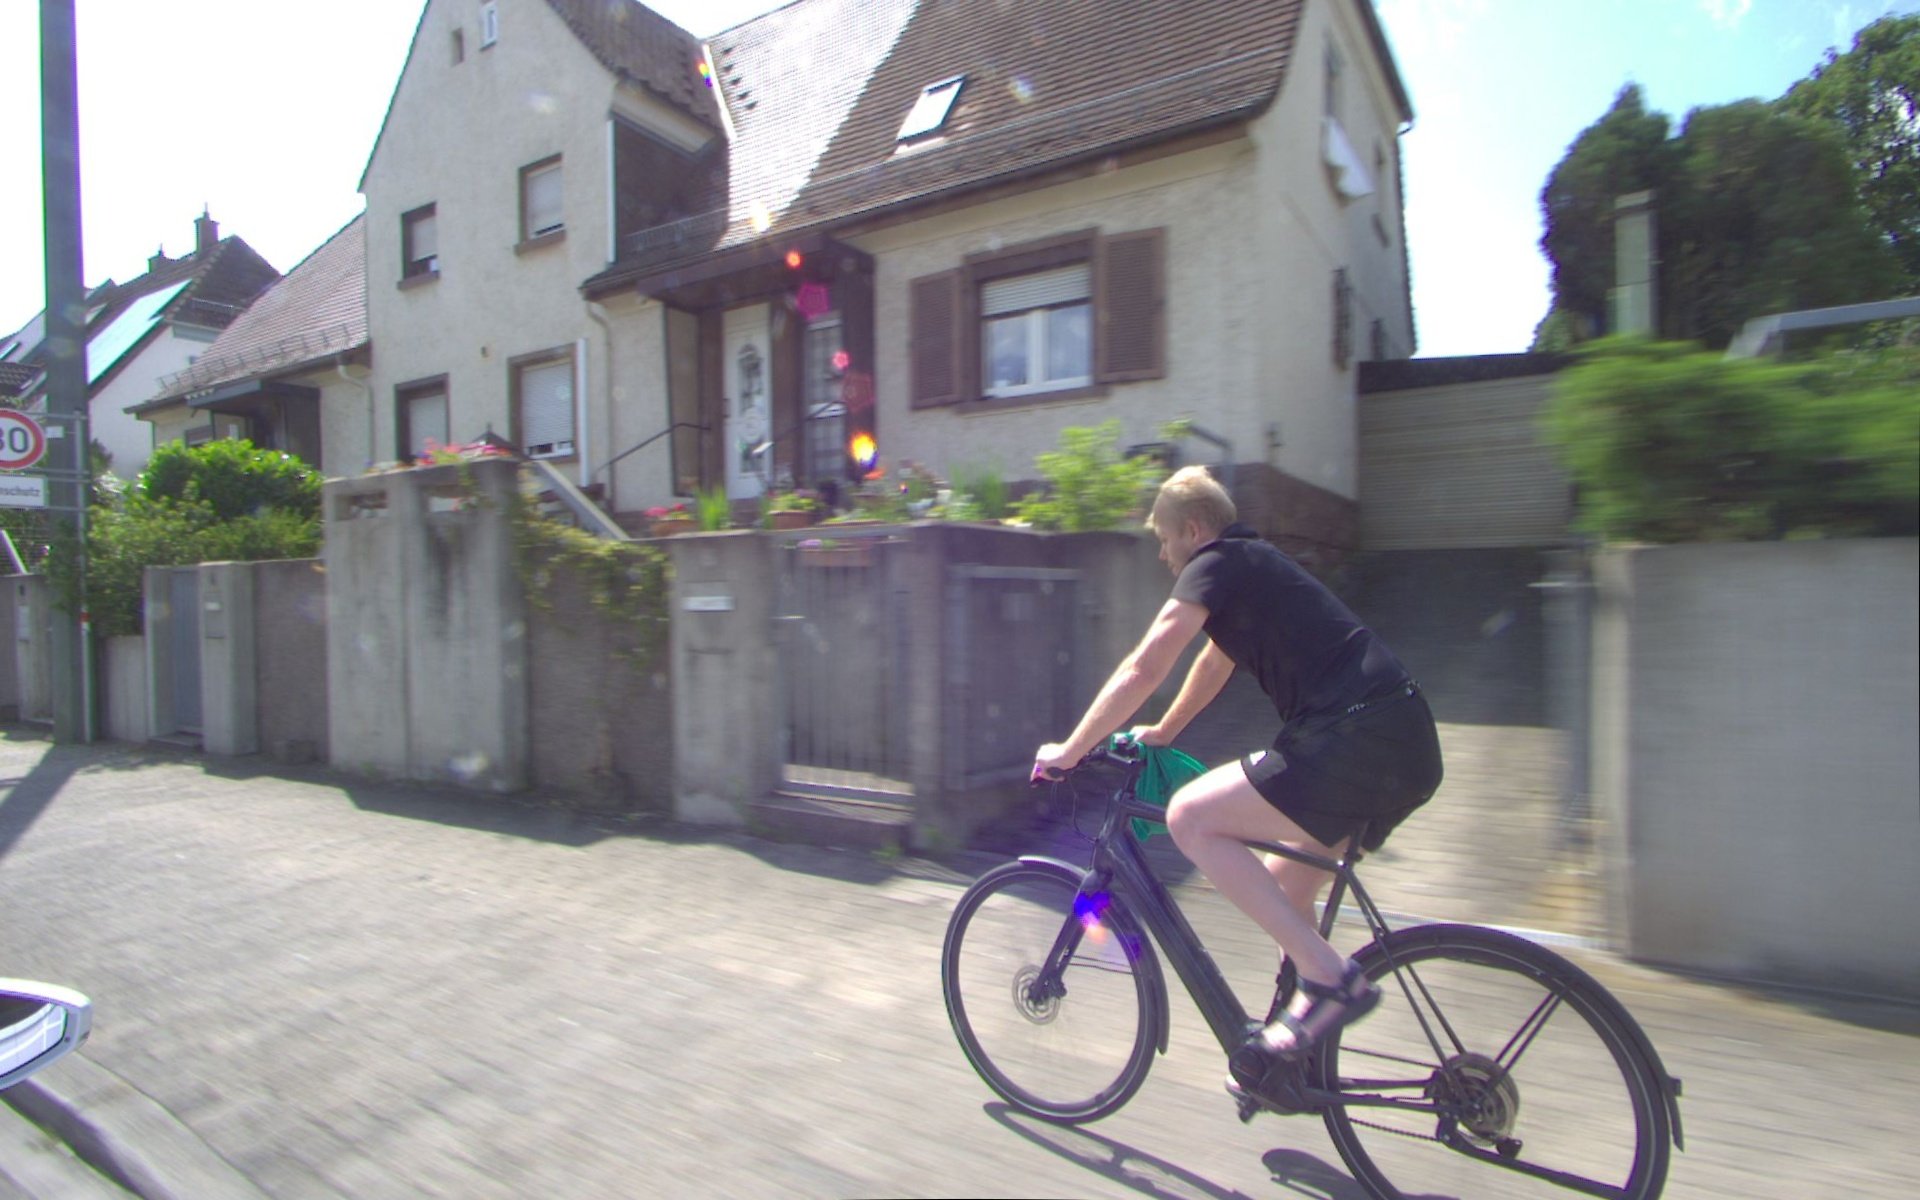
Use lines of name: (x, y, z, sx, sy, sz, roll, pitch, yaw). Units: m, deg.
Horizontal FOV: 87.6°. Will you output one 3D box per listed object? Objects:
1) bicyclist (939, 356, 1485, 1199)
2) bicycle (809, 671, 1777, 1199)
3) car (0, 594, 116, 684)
bicyclist: (0.628, 0.470, 2.423, 1.068, 1.818, 0.826, 1, 2, 32)
bicycle: (0.650, 0.791, 2.421, 1.943, 1.090, 0.826, 0, 2, 33)
car: (-19.532, 0.789, 19.719, 1.969, 1.707, 3.982, -1, 1, 28)
